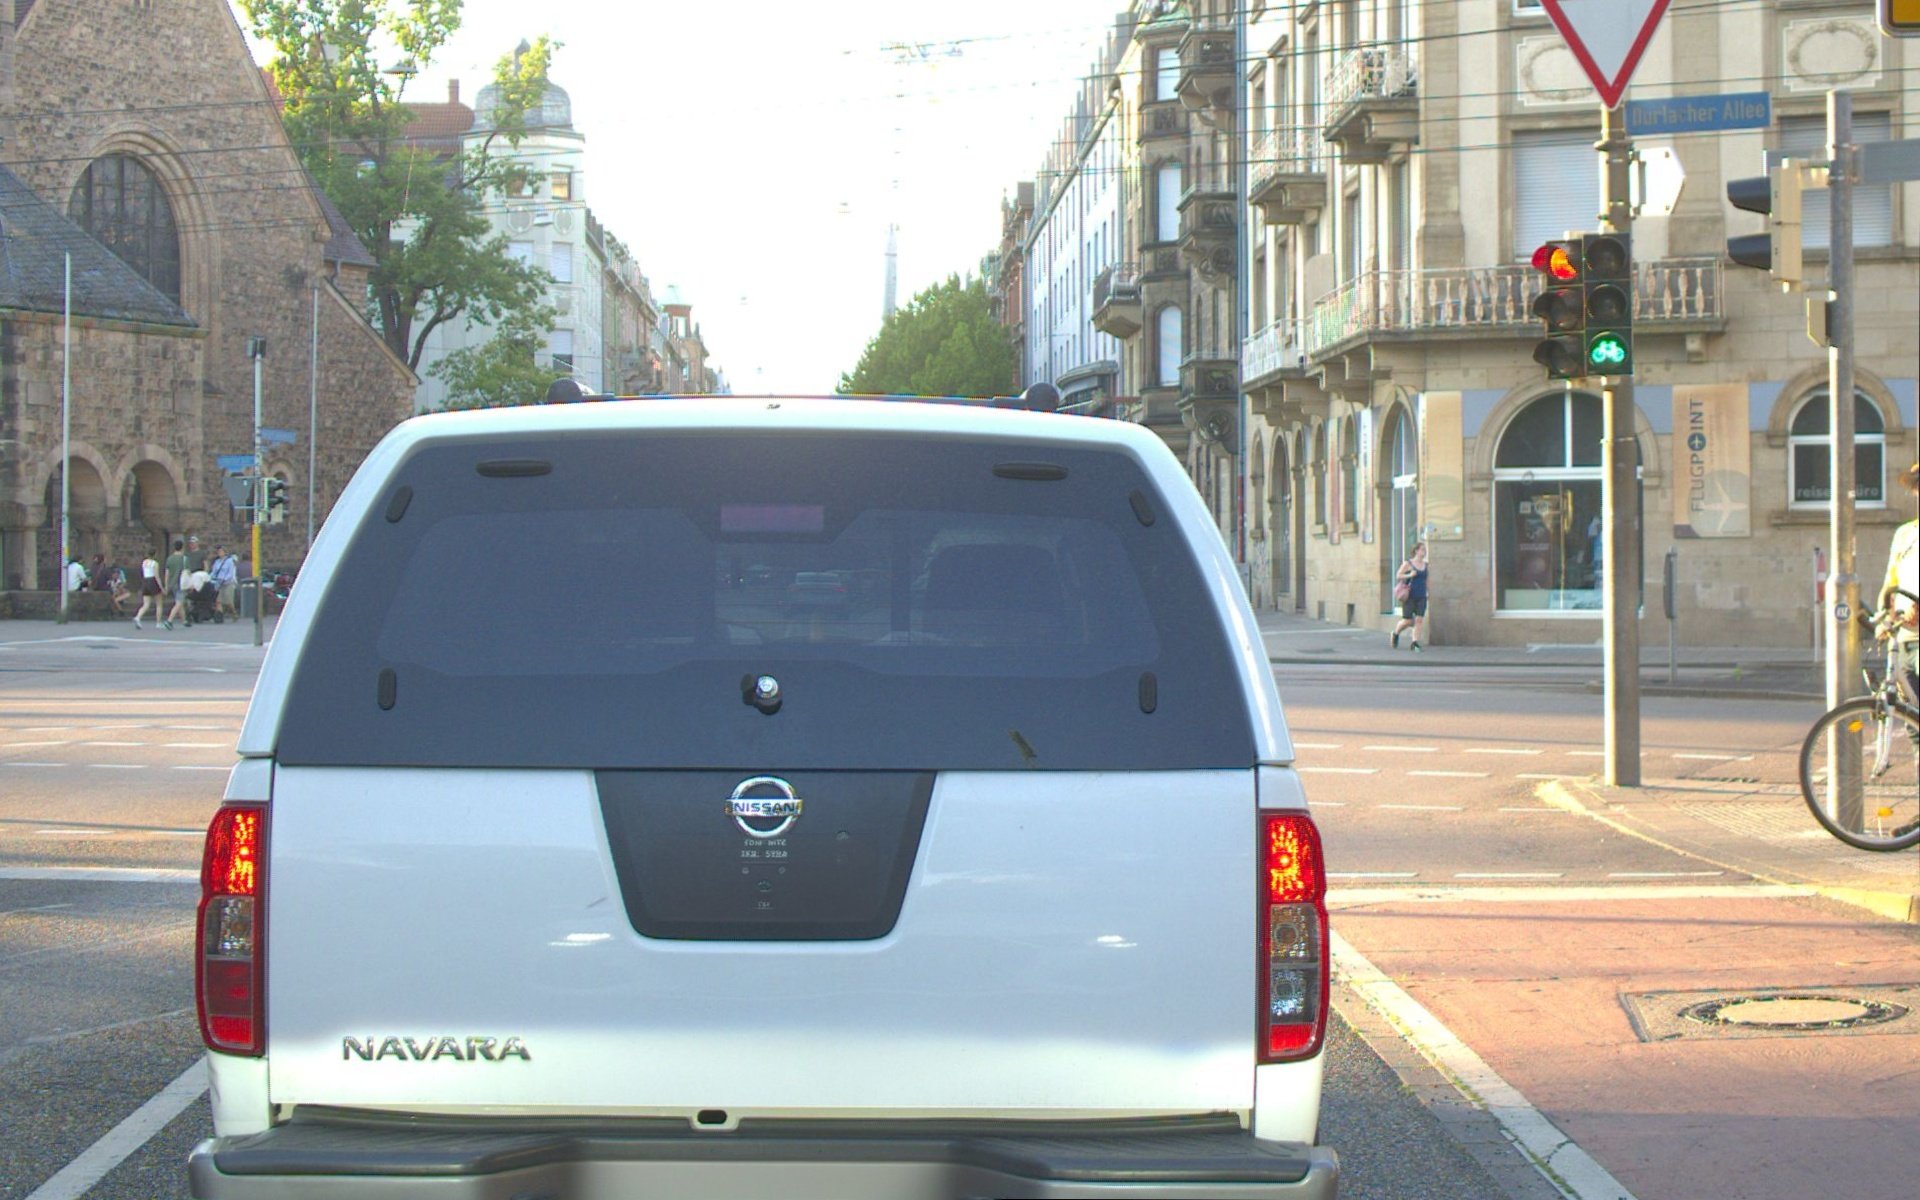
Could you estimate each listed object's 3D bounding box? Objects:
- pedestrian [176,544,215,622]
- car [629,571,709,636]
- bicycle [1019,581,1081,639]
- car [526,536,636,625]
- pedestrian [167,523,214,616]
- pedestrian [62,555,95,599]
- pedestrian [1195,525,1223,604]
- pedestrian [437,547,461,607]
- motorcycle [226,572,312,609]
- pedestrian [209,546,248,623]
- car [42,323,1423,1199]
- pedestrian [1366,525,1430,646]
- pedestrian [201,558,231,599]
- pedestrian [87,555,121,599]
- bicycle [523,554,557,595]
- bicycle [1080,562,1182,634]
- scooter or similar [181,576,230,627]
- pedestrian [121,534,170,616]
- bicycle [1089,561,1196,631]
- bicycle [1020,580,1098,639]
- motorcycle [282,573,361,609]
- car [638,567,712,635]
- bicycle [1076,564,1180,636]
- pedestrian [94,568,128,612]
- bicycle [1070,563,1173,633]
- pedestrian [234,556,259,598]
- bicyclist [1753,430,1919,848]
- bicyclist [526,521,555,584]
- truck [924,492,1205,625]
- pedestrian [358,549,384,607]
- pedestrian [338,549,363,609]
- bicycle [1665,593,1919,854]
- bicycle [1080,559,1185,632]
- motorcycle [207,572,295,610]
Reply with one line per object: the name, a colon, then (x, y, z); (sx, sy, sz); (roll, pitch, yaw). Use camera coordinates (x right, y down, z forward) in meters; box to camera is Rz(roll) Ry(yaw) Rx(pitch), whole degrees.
pedestrian: (-16.834, -0.371, 75.669); (0.634, 1.693, 0.602); (1, 0, 9)
car: (-7.931, 0.119, 94.152); (1.993, 1.553, 4.768); (0, -2, -3)
bicycle: (1.667, 0.187, 63.592); (1.076, 1.021, 0.317); (-3, 0, -2)
car: (-8.053, -0.445, 73.440); (1.993, 1.778, 4.798); (1, 2, -2)
pedestrian: (-15.909, -0.625, 71.097); (0.812, 1.894, 0.666); (1, 0, -3)
pedestrian: (-19.223, -0.504, 74.973); (0.522, 0.957, 0.479); (1, 0, 19)
pedestrian: (5.239, -0.751, 72.352); (0.527, 1.649, 0.547); (1, 0, -1)
pedestrian: (-15.726, -0.715, 105.835); (0.642, 1.849, 0.562); (1, 0, -15)
motorcycle: (-18.832, -0.255, 93.728); (2.243, 0.984, 0.708); (1, 0, -6)
pedestrian: (-16.074, -0.339, 75.558); (0.634, 1.693, 0.602); (1, 0, 10)
car: (-0.358, 0.509, 7.019); (1.993, 1.803, 4.000); (1, 0, -1)
pedestrian: (6.498, -0.218, 51.026); (0.788, 1.773, 0.543); (1, 0, 25)
pedestrian: (-17.399, -0.496, 80.409); (0.522, 0.957, 0.479); (1, 0, 17)
pedestrian: (-18.597, -0.495, 74.698); (0.522, 0.957, 0.479); (1, 0, 19)
bicycle: (-11.040, -0.669, 90.278); (0.599, 1.040, 1.946); (1, 0, -15)
bicycle: (3.210, -0.039, 64.622); (1.817, 1.233, 0.412); (-3, 0, -2)
scooter or similar: (-16.376, 0.027, 74.625); (0.634, 1.099, 1.078); (0, 1, 14)
pedestrian: (-16.824, -0.511, 71.047); (0.812, 1.664, 0.860); (1, 0, -3)
bicycle: (3.295, -0.073, 62.244); (1.817, 1.146, 0.636); (-3, 0, -2)
bicycle: (1.851, 0.172, 64.304); (1.371, 1.021, 0.317); (-3, 0, -2)
motorcycle: (-17.836, -0.249, 96.017); (2.167, 0.984, 0.593); (1, 0, 19)
car: (-8.703, 0.019, 105.205); (1.993, 2.007, 4.951); (-1, 0, -2)
bicycle: (3.118, -0.004, 63.896); (1.817, 1.233, 0.478); (-3, 0, -2)
pedestrian: (-18.740, -0.226, 75.870); (0.478, 0.957, 0.522); (1, 0, 29)
bicycle: (3.081, -0.042, 65.758); (1.855, 1.233, 0.531); (-3, 0, -2)
pedestrian: (-16.670, -0.533, 80.324); (0.521, 0.957, 0.479); (1, 0, -16)
bicyclist: (4.039, 0.170, 15.381); (0.696, 1.818, 0.628); (1, 0, -33)
bicyclist: (-11.009, -1.241, 90.247); (0.599, 1.639, 0.963); (1, 0, -15)
truck: (2.138, -0.820, 68.799); (5.658, 2.556, 2.286); (0, 1, -44)
pedestrian: (-17.104, -0.635, 99.830); (0.642, 1.690, 0.562); (1, 0, -1)
pedestrian: (-17.329, -0.591, 97.746); (0.642, 1.690, 0.562); (1, 0, -9)
bicycle: (4.156, 0.536, 15.459); (2.065, 1.106, 0.628); (1, 0, -33)
bicycle: (3.161, -0.091, 63.184); (1.817, 1.233, 0.488); (-3, 0, -2)
motorcycle: (-18.903, -0.249, 91.700); (2.243, 0.984, 0.708); (1, 0, -6)
